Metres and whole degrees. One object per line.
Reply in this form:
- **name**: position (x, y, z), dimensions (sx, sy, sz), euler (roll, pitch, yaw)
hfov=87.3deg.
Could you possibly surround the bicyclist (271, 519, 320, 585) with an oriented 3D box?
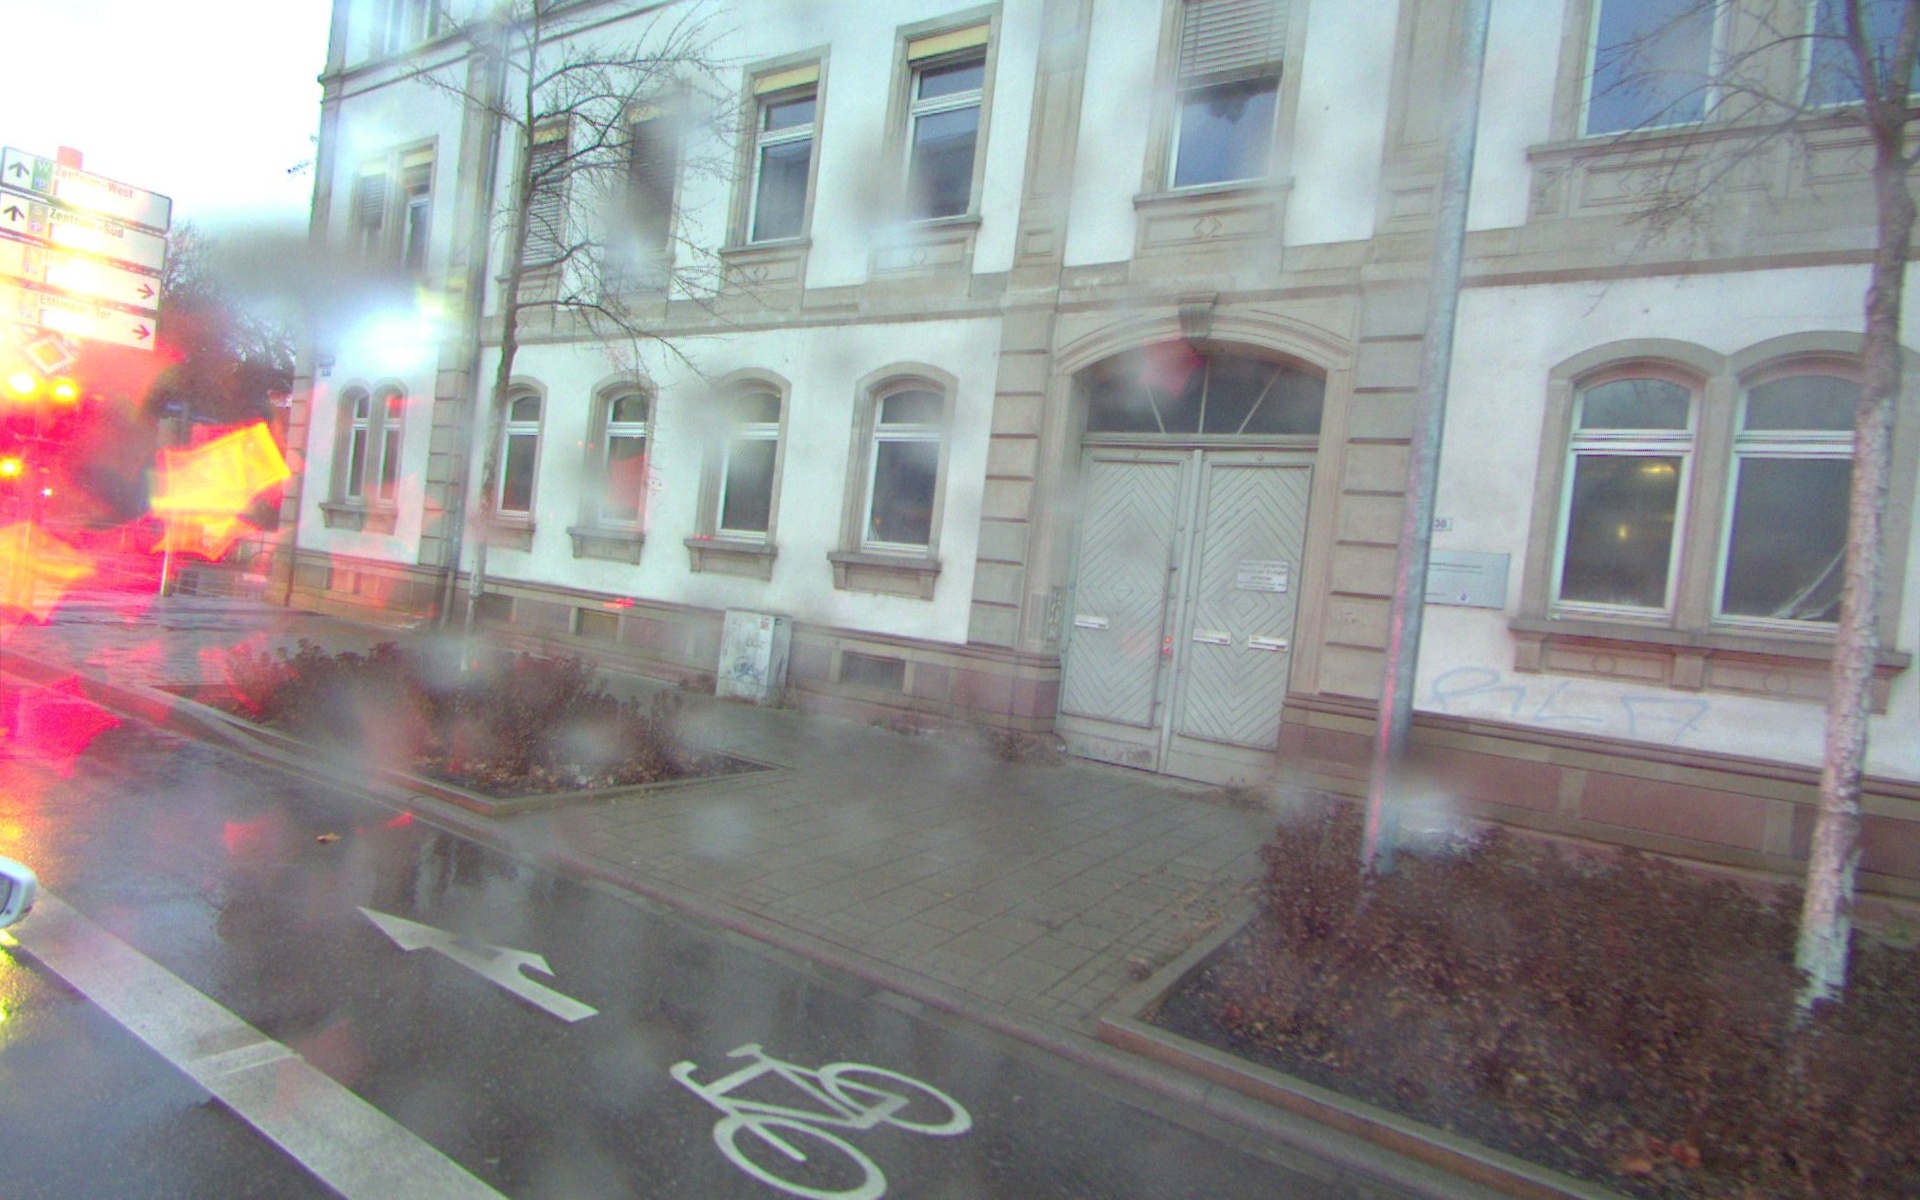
- **bicyclist**: position (-19.545, -1.407, 29.594), dimensions (0.968, 1.779, 0.805), euler (8, -2, -39)

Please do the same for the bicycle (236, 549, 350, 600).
- **bicycle**: position (-19.603, -0.747, 29.605), dimensions (2.656, 1.101, 0.806), euler (9, -3, -39)
